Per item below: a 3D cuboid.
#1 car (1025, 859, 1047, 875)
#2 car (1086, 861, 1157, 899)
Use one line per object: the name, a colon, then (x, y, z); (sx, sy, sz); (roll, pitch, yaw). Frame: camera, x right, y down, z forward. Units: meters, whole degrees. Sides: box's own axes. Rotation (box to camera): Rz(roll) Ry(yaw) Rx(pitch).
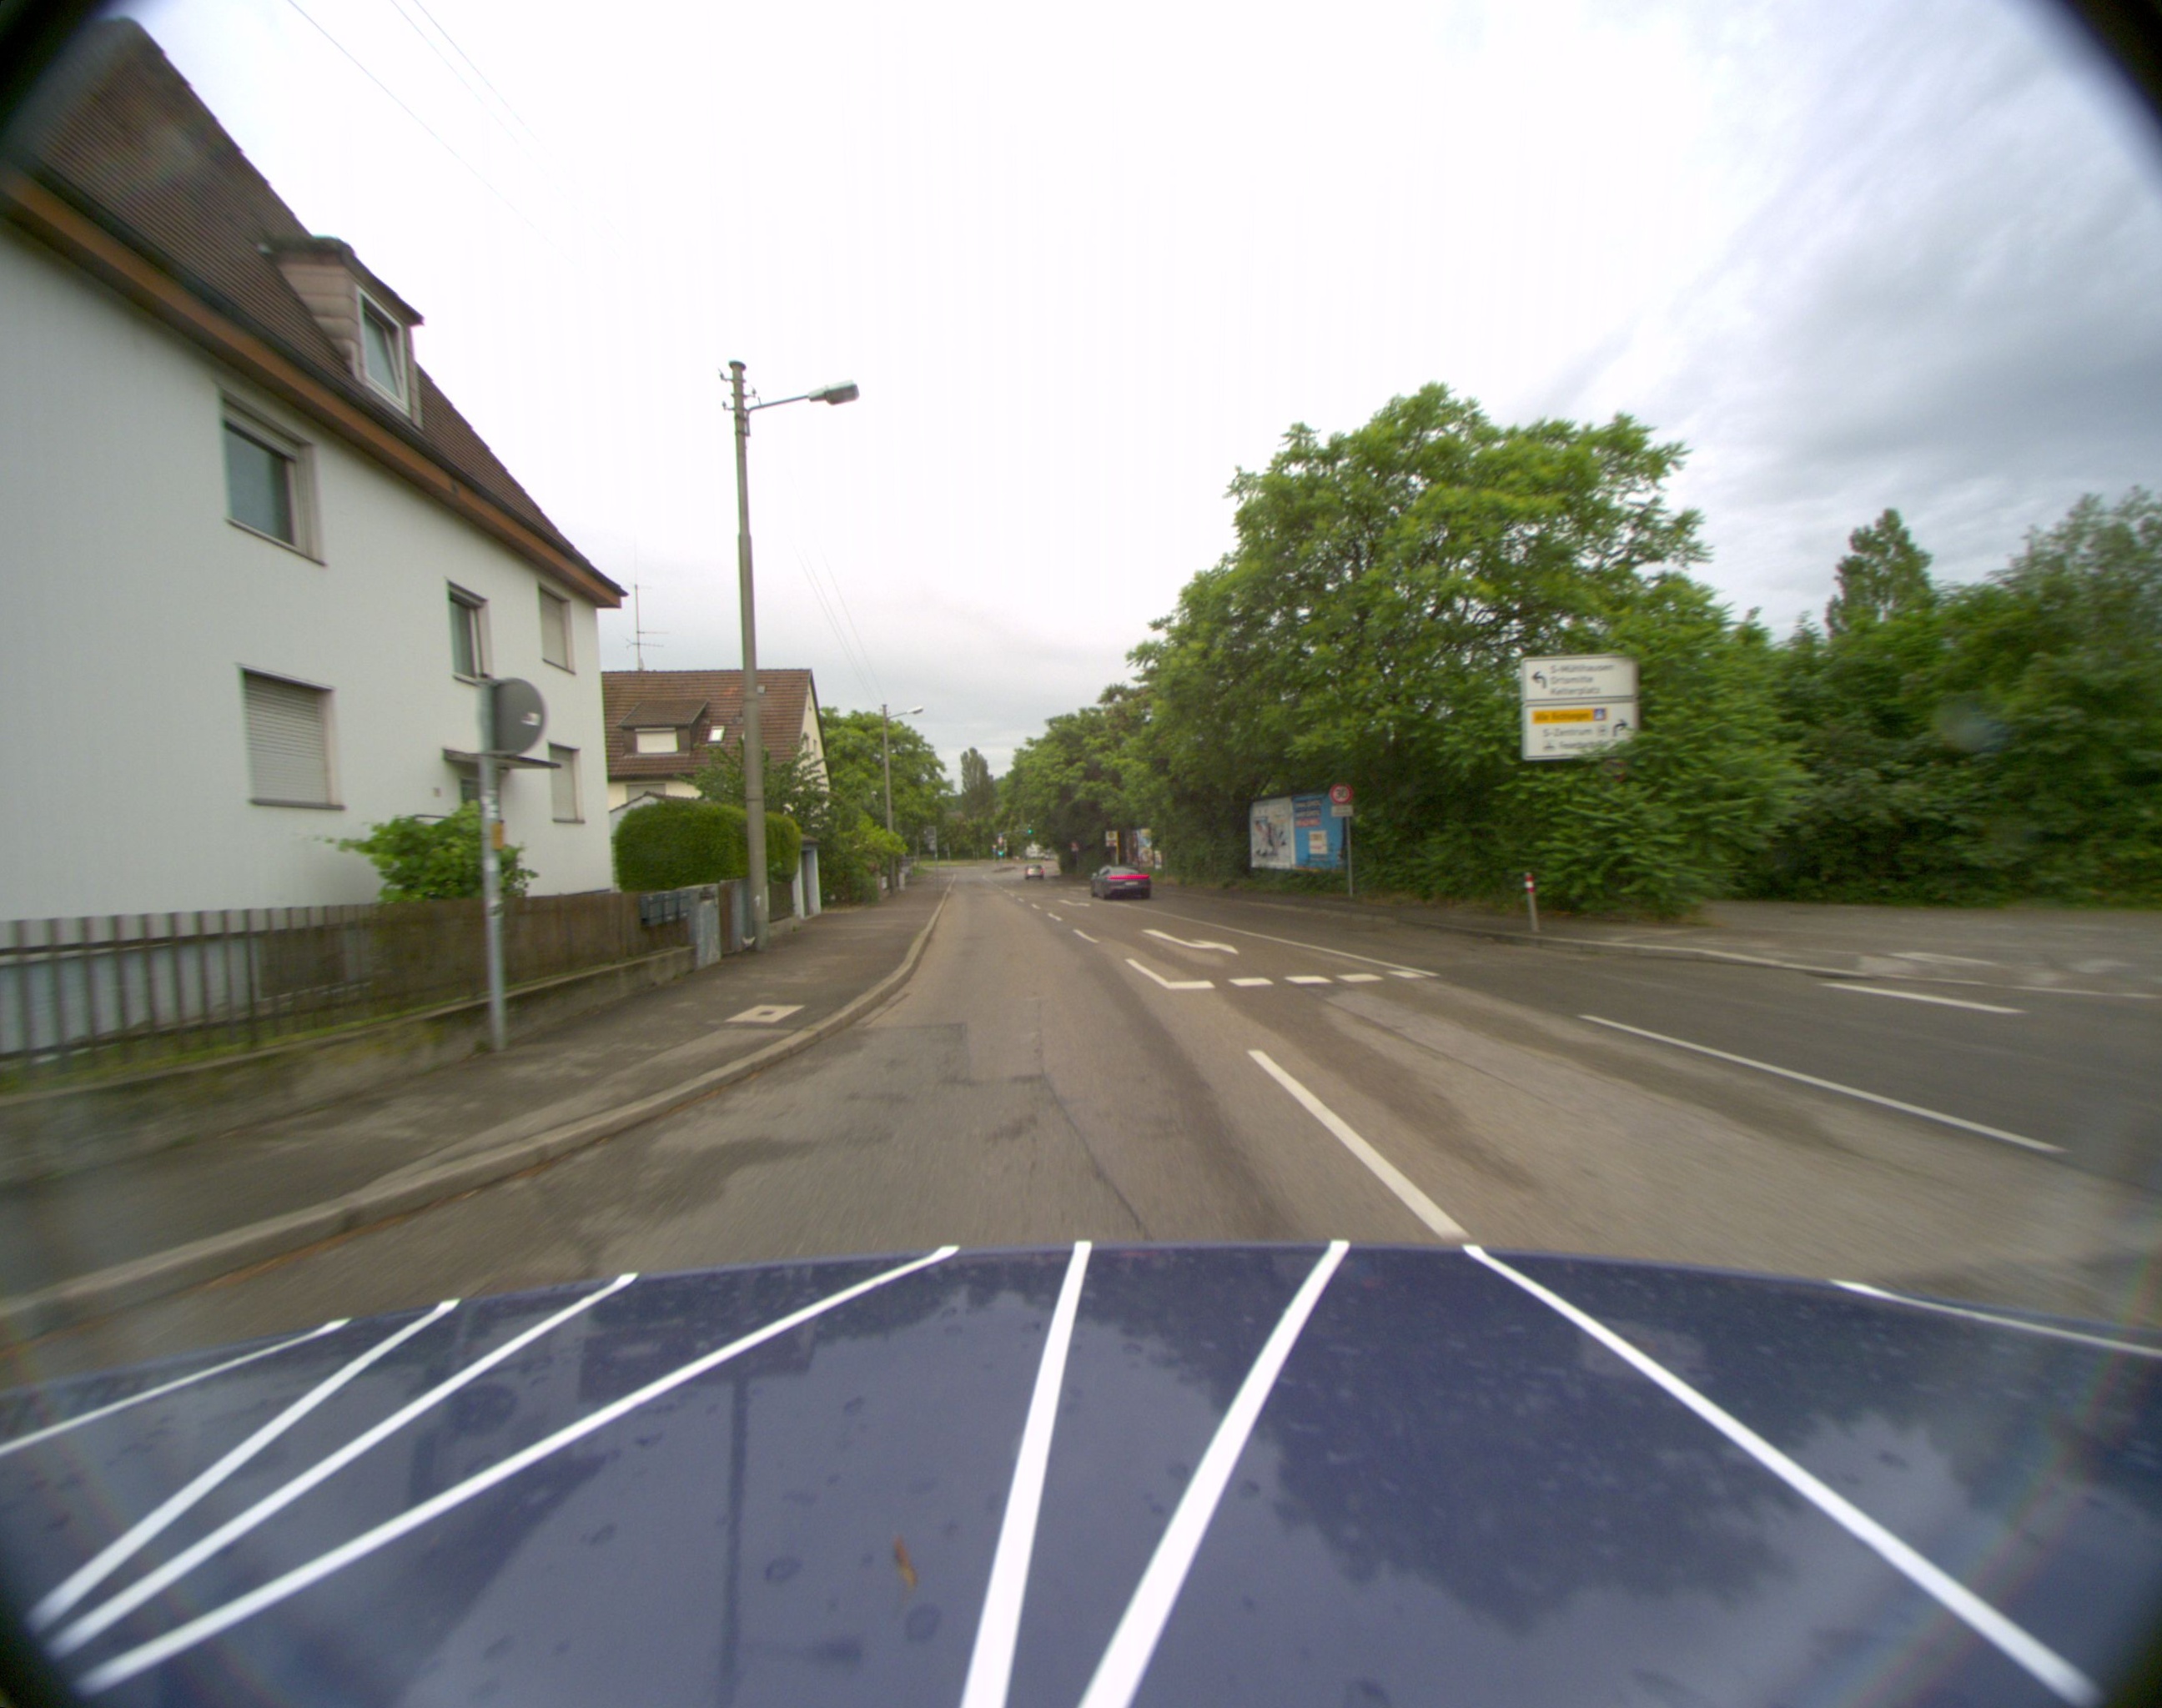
car: (-4.410, 1.271, 74.111); (1.674, 1.459, 3.776); (-2, 0, -11)
car: (1.624, 1.035, 32.395); (2.000, 1.435, 4.771); (-2, 0, -9)
